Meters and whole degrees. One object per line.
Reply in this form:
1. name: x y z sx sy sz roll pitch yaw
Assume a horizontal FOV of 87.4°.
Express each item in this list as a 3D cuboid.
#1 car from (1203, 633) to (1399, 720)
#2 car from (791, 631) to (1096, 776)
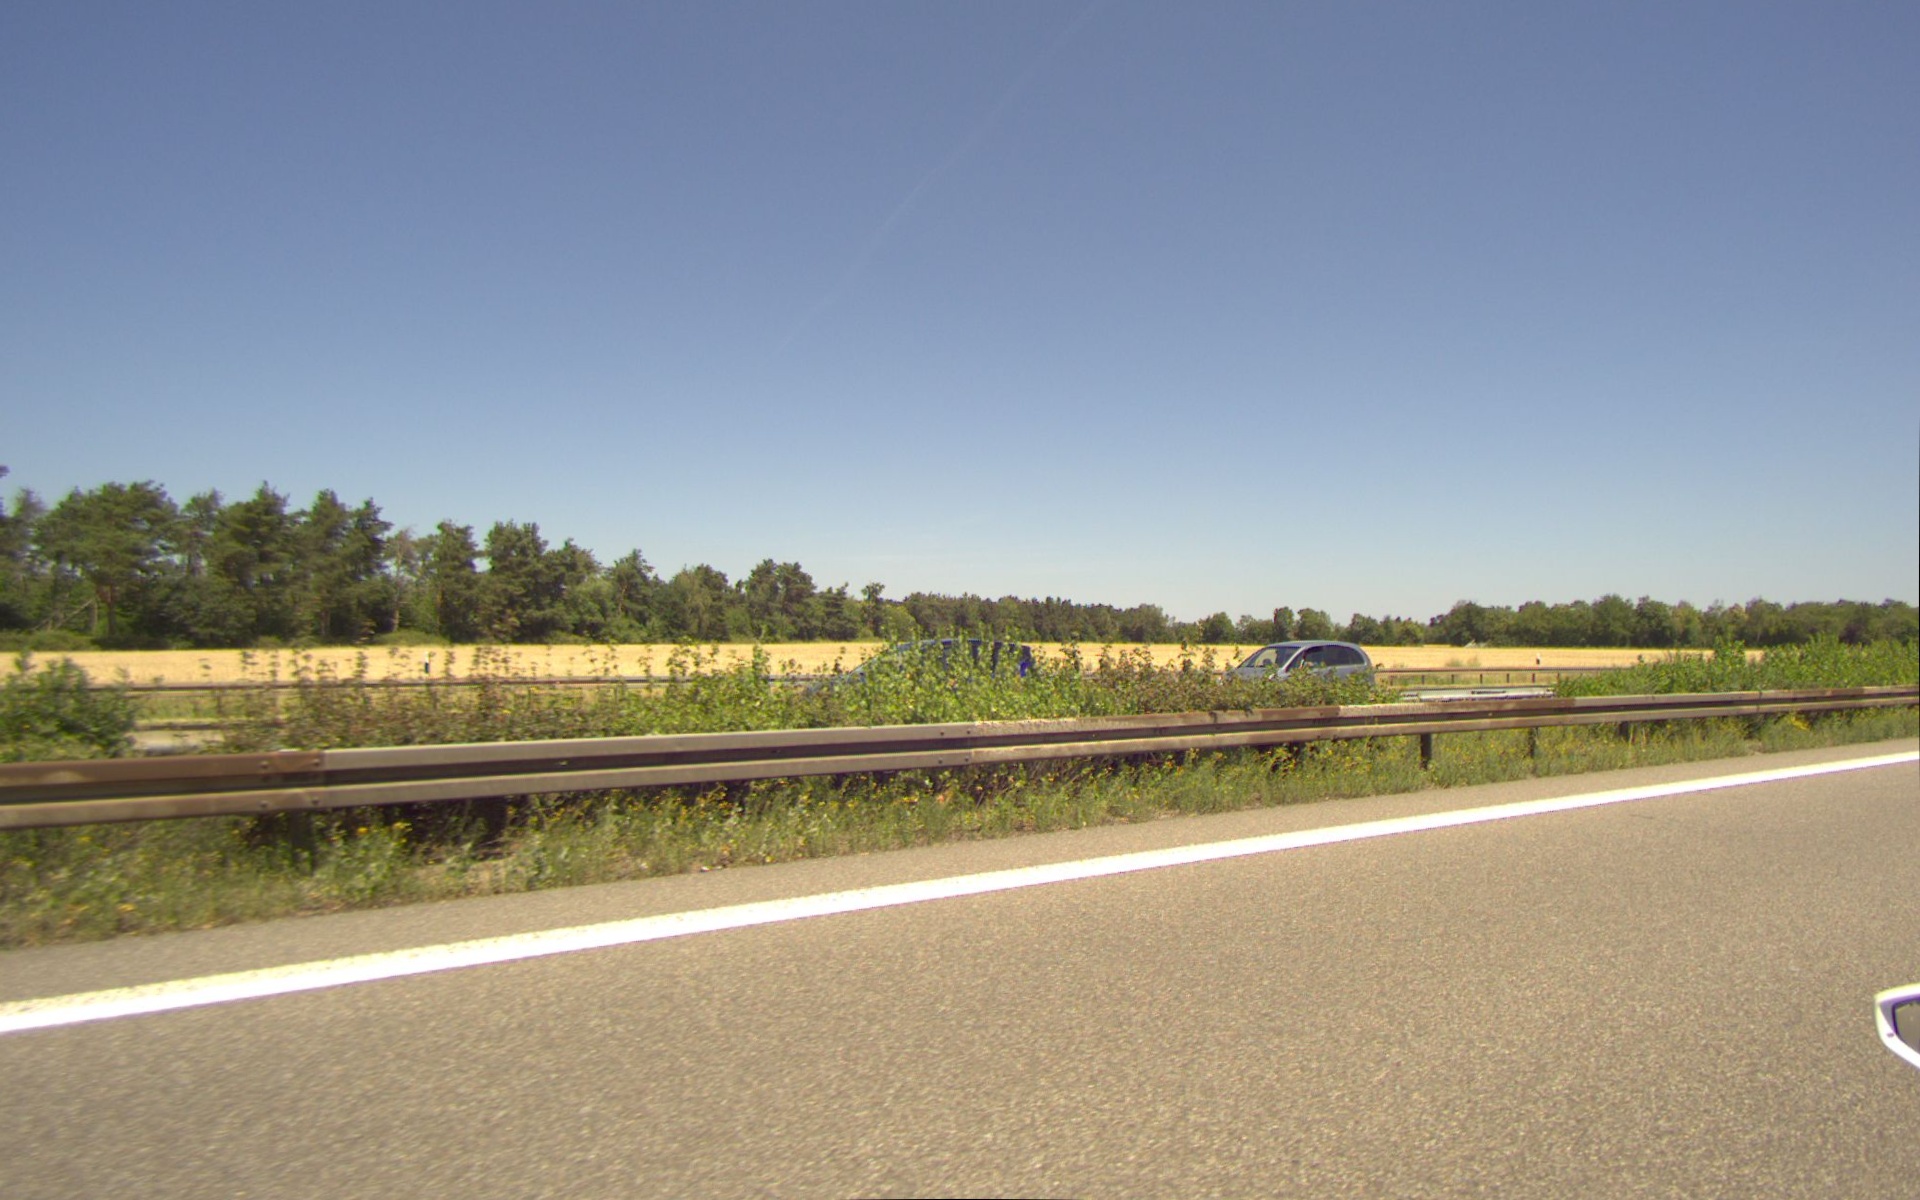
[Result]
1. car: 7.781 1.680 22.846 4.378 1.801 1.839 2 -2 -30
2. car: -0.204 1.361 14.336 3.953 1.801 1.866 2 -2 -30
